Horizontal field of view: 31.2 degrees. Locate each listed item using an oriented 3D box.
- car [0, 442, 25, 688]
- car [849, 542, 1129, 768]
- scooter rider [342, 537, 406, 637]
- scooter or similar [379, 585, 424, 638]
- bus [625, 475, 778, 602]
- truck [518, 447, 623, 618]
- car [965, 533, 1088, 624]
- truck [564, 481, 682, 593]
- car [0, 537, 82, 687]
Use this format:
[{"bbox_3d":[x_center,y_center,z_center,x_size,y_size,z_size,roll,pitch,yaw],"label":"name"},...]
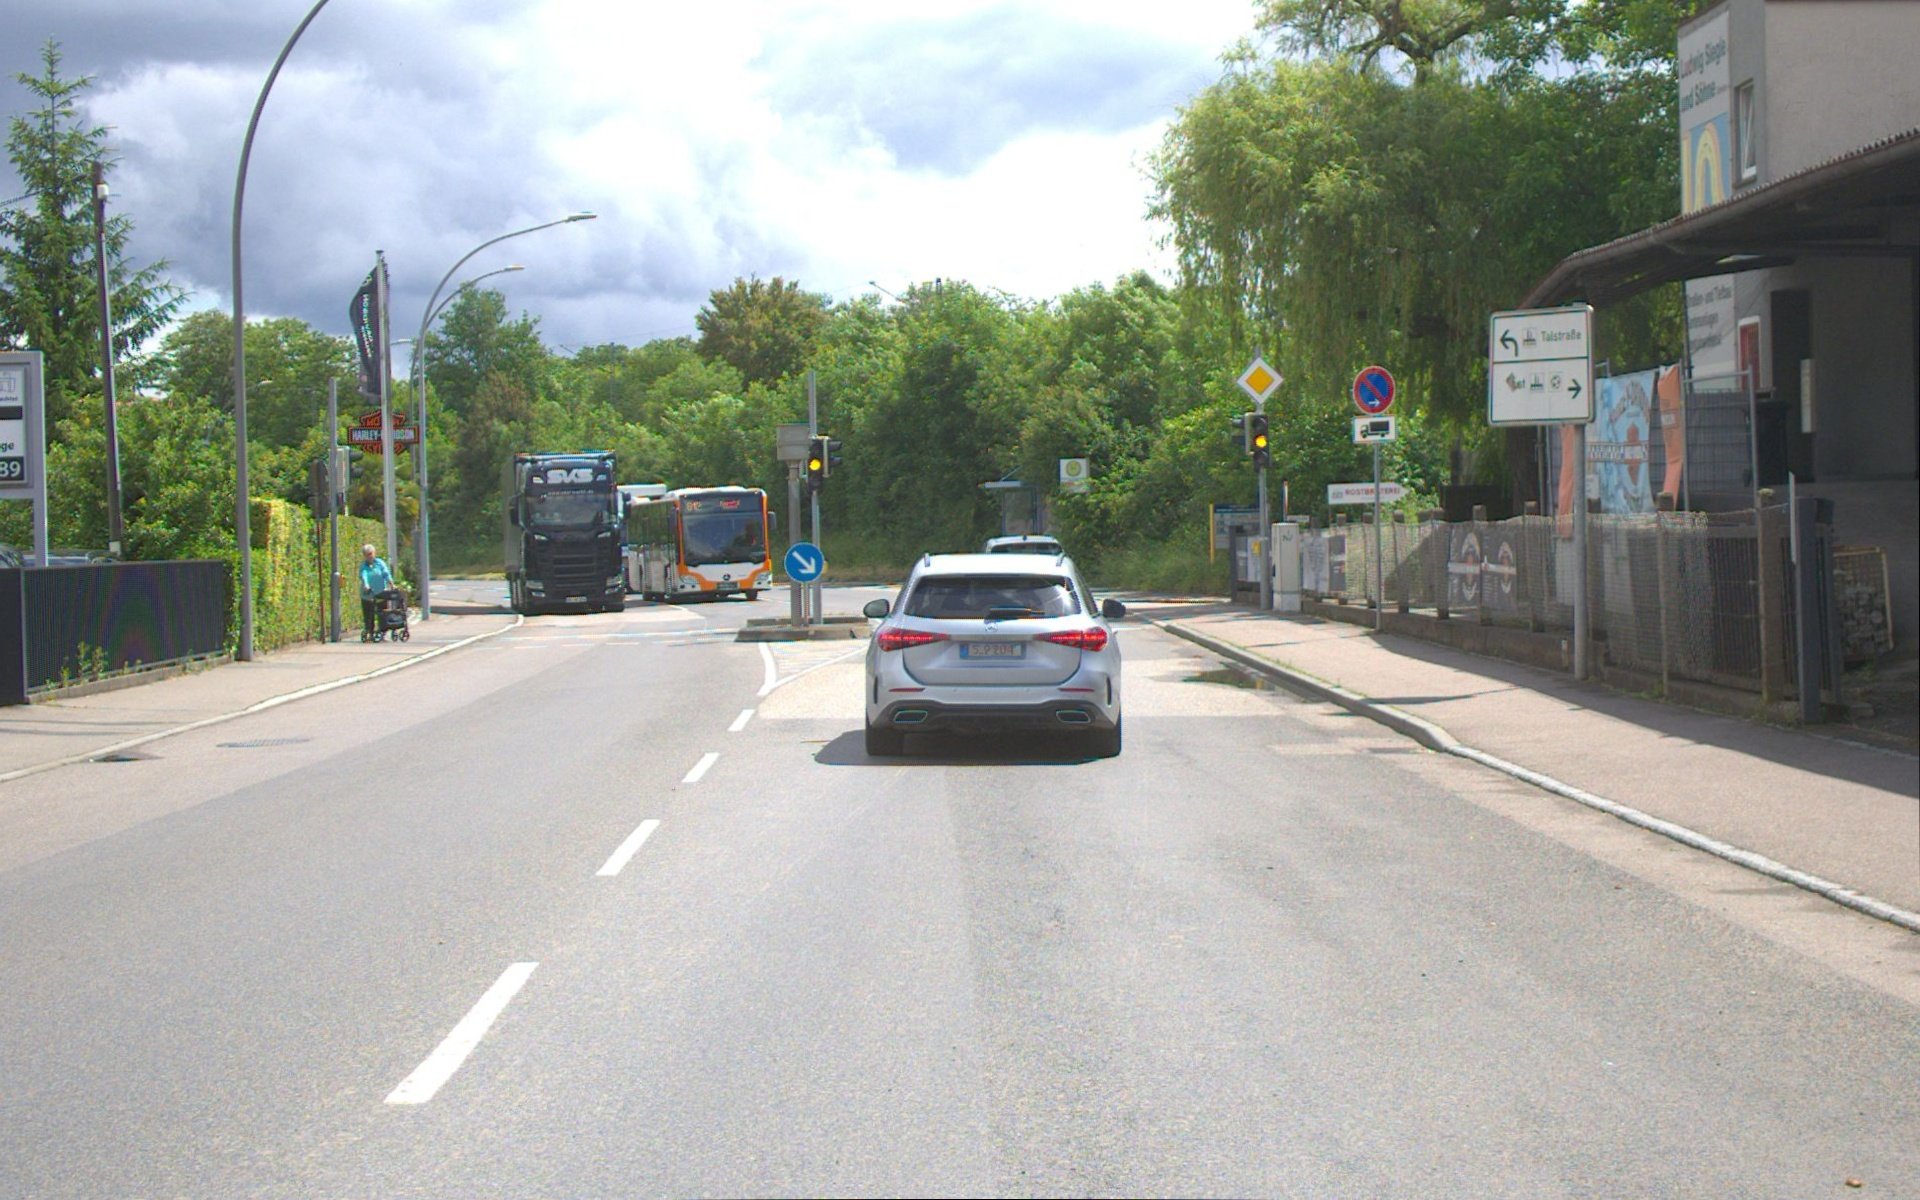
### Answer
[{"bbox_3d":[-12.731,-0.271,34.353,6.037,2.488,2.477,-2,1,0],"label":"car"},{"bbox_3d":[0.263,0.343,25.426,1.885,1.503,4.000,-1,1,2],"label":"car"},{"bbox_3d":[-9.457,-0.208,55.501,0.878,1.584,0.796,-1,1,0],"label":"scooter rider"},{"bbox_3d":[-8.942,0.187,55.098,0.611,0.829,0.659,0,1,0],"label":"scooter or similar"},{"bbox_3d":[-7.387,-1.689,96.635,2.777,3.255,12.127,-2,1,-11],"label":"bus"},{"bbox_3d":[-10.036,-1.689,87.901,2.428,4.117,9.152,1,0,-8],"label":"truck"},{"bbox_3d":[1.125,-0.402,59.963,1.884,1.503,4.001,-1,1,-2],"label":"car"},{"bbox_3d":[-11.378,-2.078,115.349,2.839,3.528,9.727,-2,1,-12],"label":"truck"},{"bbox_3d":[-11.258,0.117,38.332,2.031,1.589,4.285,-2,1,-3],"label":"car"}]
